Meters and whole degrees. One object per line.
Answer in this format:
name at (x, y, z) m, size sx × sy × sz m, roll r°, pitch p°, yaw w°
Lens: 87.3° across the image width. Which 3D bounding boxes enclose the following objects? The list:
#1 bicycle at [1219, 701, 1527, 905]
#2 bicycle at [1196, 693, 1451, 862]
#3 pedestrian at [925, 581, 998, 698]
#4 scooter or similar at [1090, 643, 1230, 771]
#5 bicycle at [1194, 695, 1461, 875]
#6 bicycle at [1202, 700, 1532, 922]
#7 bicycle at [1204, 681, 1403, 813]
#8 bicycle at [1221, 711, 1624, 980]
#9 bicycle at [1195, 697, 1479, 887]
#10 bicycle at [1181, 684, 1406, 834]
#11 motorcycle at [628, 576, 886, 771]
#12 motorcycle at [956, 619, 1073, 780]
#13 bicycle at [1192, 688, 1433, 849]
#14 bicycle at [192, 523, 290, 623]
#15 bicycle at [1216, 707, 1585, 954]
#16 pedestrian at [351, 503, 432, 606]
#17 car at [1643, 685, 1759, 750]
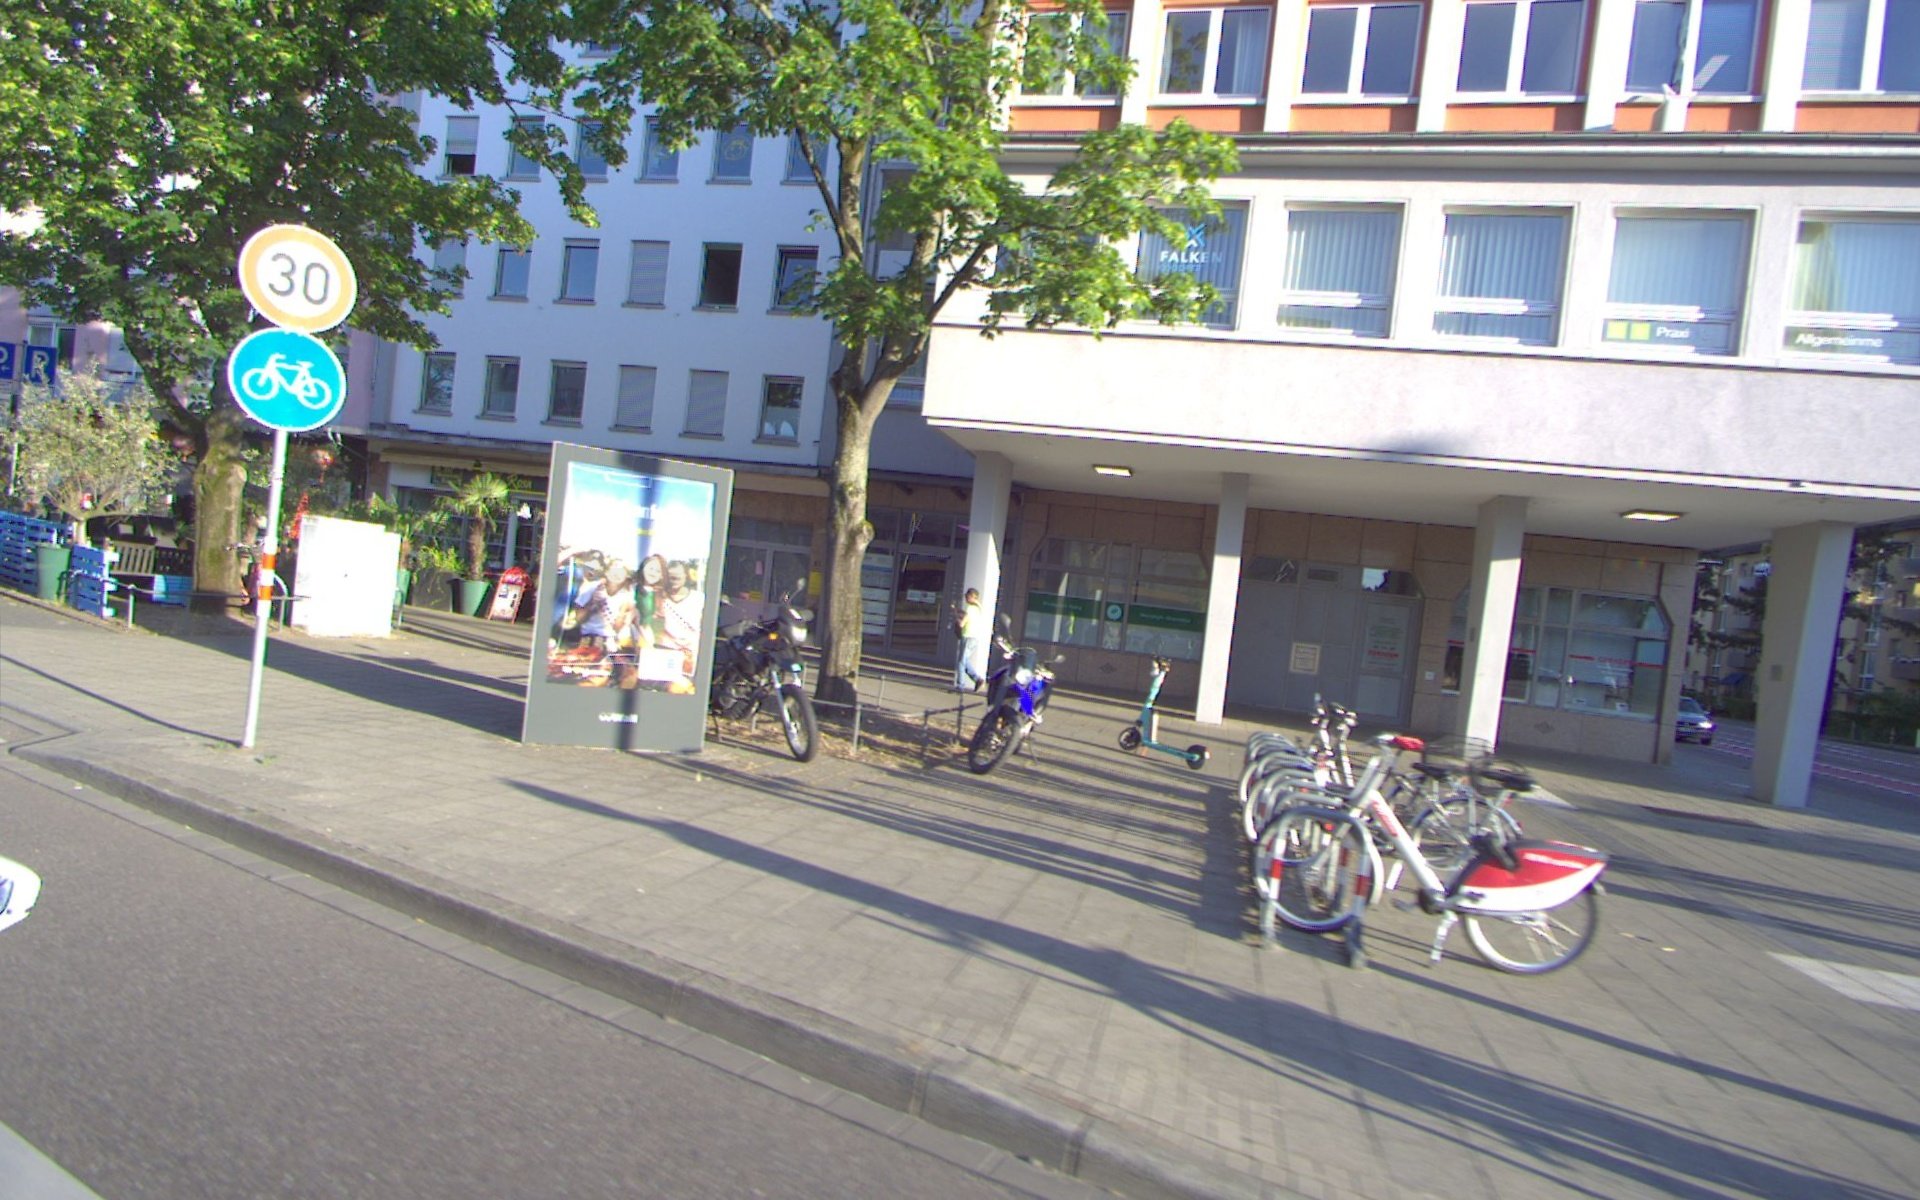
bicycle at (2.723, 1.332, 6.745) m, size 1.760 × 1.040 × 0.369 m, roll 8°, pitch 0°, yaw 8°
bicycle at (2.859, 1.391, 8.023) m, size 1.760 × 1.040 × 0.365 m, roll 8°, pitch 0°, yaw 8°
pedestrian at (0.033, 0.628, 16.308) m, size 0.860 × 1.747 × 0.656 m, roll 7°, pitch 2°, yaw 13°
scooter or similar at (2.370, 1.252, 12.049) m, size 1.502 × 1.279 × 0.308 m, roll 7°, pitch 0°, yaw 35°
bicycle at (2.749, 1.379, 7.644) m, size 1.760 × 1.040 × 0.361 m, roll 8°, pitch 0°, yaw 9°
bicycle at (2.482, 1.280, 6.265) m, size 1.760 × 1.040 × 0.361 m, roll 8°, pitch 0°, yaw 9°
bicycle at (3.460, 1.474, 10.217) m, size 1.760 × 1.040 × 0.365 m, roll 8°, pitch 0°, yaw 8°
bicycle at (2.336, 1.234, 5.221) m, size 1.760 × 1.040 × 0.361 m, roll 8°, pitch 0°, yaw 9°
bicycle at (2.663, 1.348, 7.218) m, size 1.760 × 1.040 × 0.361 m, roll 8°, pitch 0°, yaw 9°
bicycle at (2.942, 1.398, 8.988) m, size 1.760 × 1.040 × 0.365 m, roll 8°, pitch 0°, yaw 8°
motorcycle at (-1.823, 0.604, 8.898) m, size 2.164 × 1.360 × 0.642 m, roll 7°, pitch 0°, yaw 27°
motorcycle at (0.605, 0.941, 10.124) m, size 0.631 × 1.370 × 2.150 m, roll 7°, pitch 0°, yaw 14°
bicycle at (2.928, 1.394, 8.458) m, size 1.760 × 1.040 × 0.365 m, roll 8°, pitch 0°, yaw 8°
bicycle at (-10.378, -0.409, 14.497) m, size 2.050 × 1.225 × 0.446 m, roll 7°, pitch 0°, yaw 37°
bicycle at (2.420, 1.260, 5.666) m, size 1.760 × 1.040 × 0.361 m, roll 8°, pitch 0°, yaw 10°
pedestrian at (-10.299, -0.802, 18.248) m, size 0.759 × 1.748 × 0.894 m, roll 7°, pitch 2°, yaw 7°
car at (23.292, 3.641, 31.784) m, size 1.709 × 1.595 × 4.111 m, roll 7°, pitch -1°, yaw 20°
